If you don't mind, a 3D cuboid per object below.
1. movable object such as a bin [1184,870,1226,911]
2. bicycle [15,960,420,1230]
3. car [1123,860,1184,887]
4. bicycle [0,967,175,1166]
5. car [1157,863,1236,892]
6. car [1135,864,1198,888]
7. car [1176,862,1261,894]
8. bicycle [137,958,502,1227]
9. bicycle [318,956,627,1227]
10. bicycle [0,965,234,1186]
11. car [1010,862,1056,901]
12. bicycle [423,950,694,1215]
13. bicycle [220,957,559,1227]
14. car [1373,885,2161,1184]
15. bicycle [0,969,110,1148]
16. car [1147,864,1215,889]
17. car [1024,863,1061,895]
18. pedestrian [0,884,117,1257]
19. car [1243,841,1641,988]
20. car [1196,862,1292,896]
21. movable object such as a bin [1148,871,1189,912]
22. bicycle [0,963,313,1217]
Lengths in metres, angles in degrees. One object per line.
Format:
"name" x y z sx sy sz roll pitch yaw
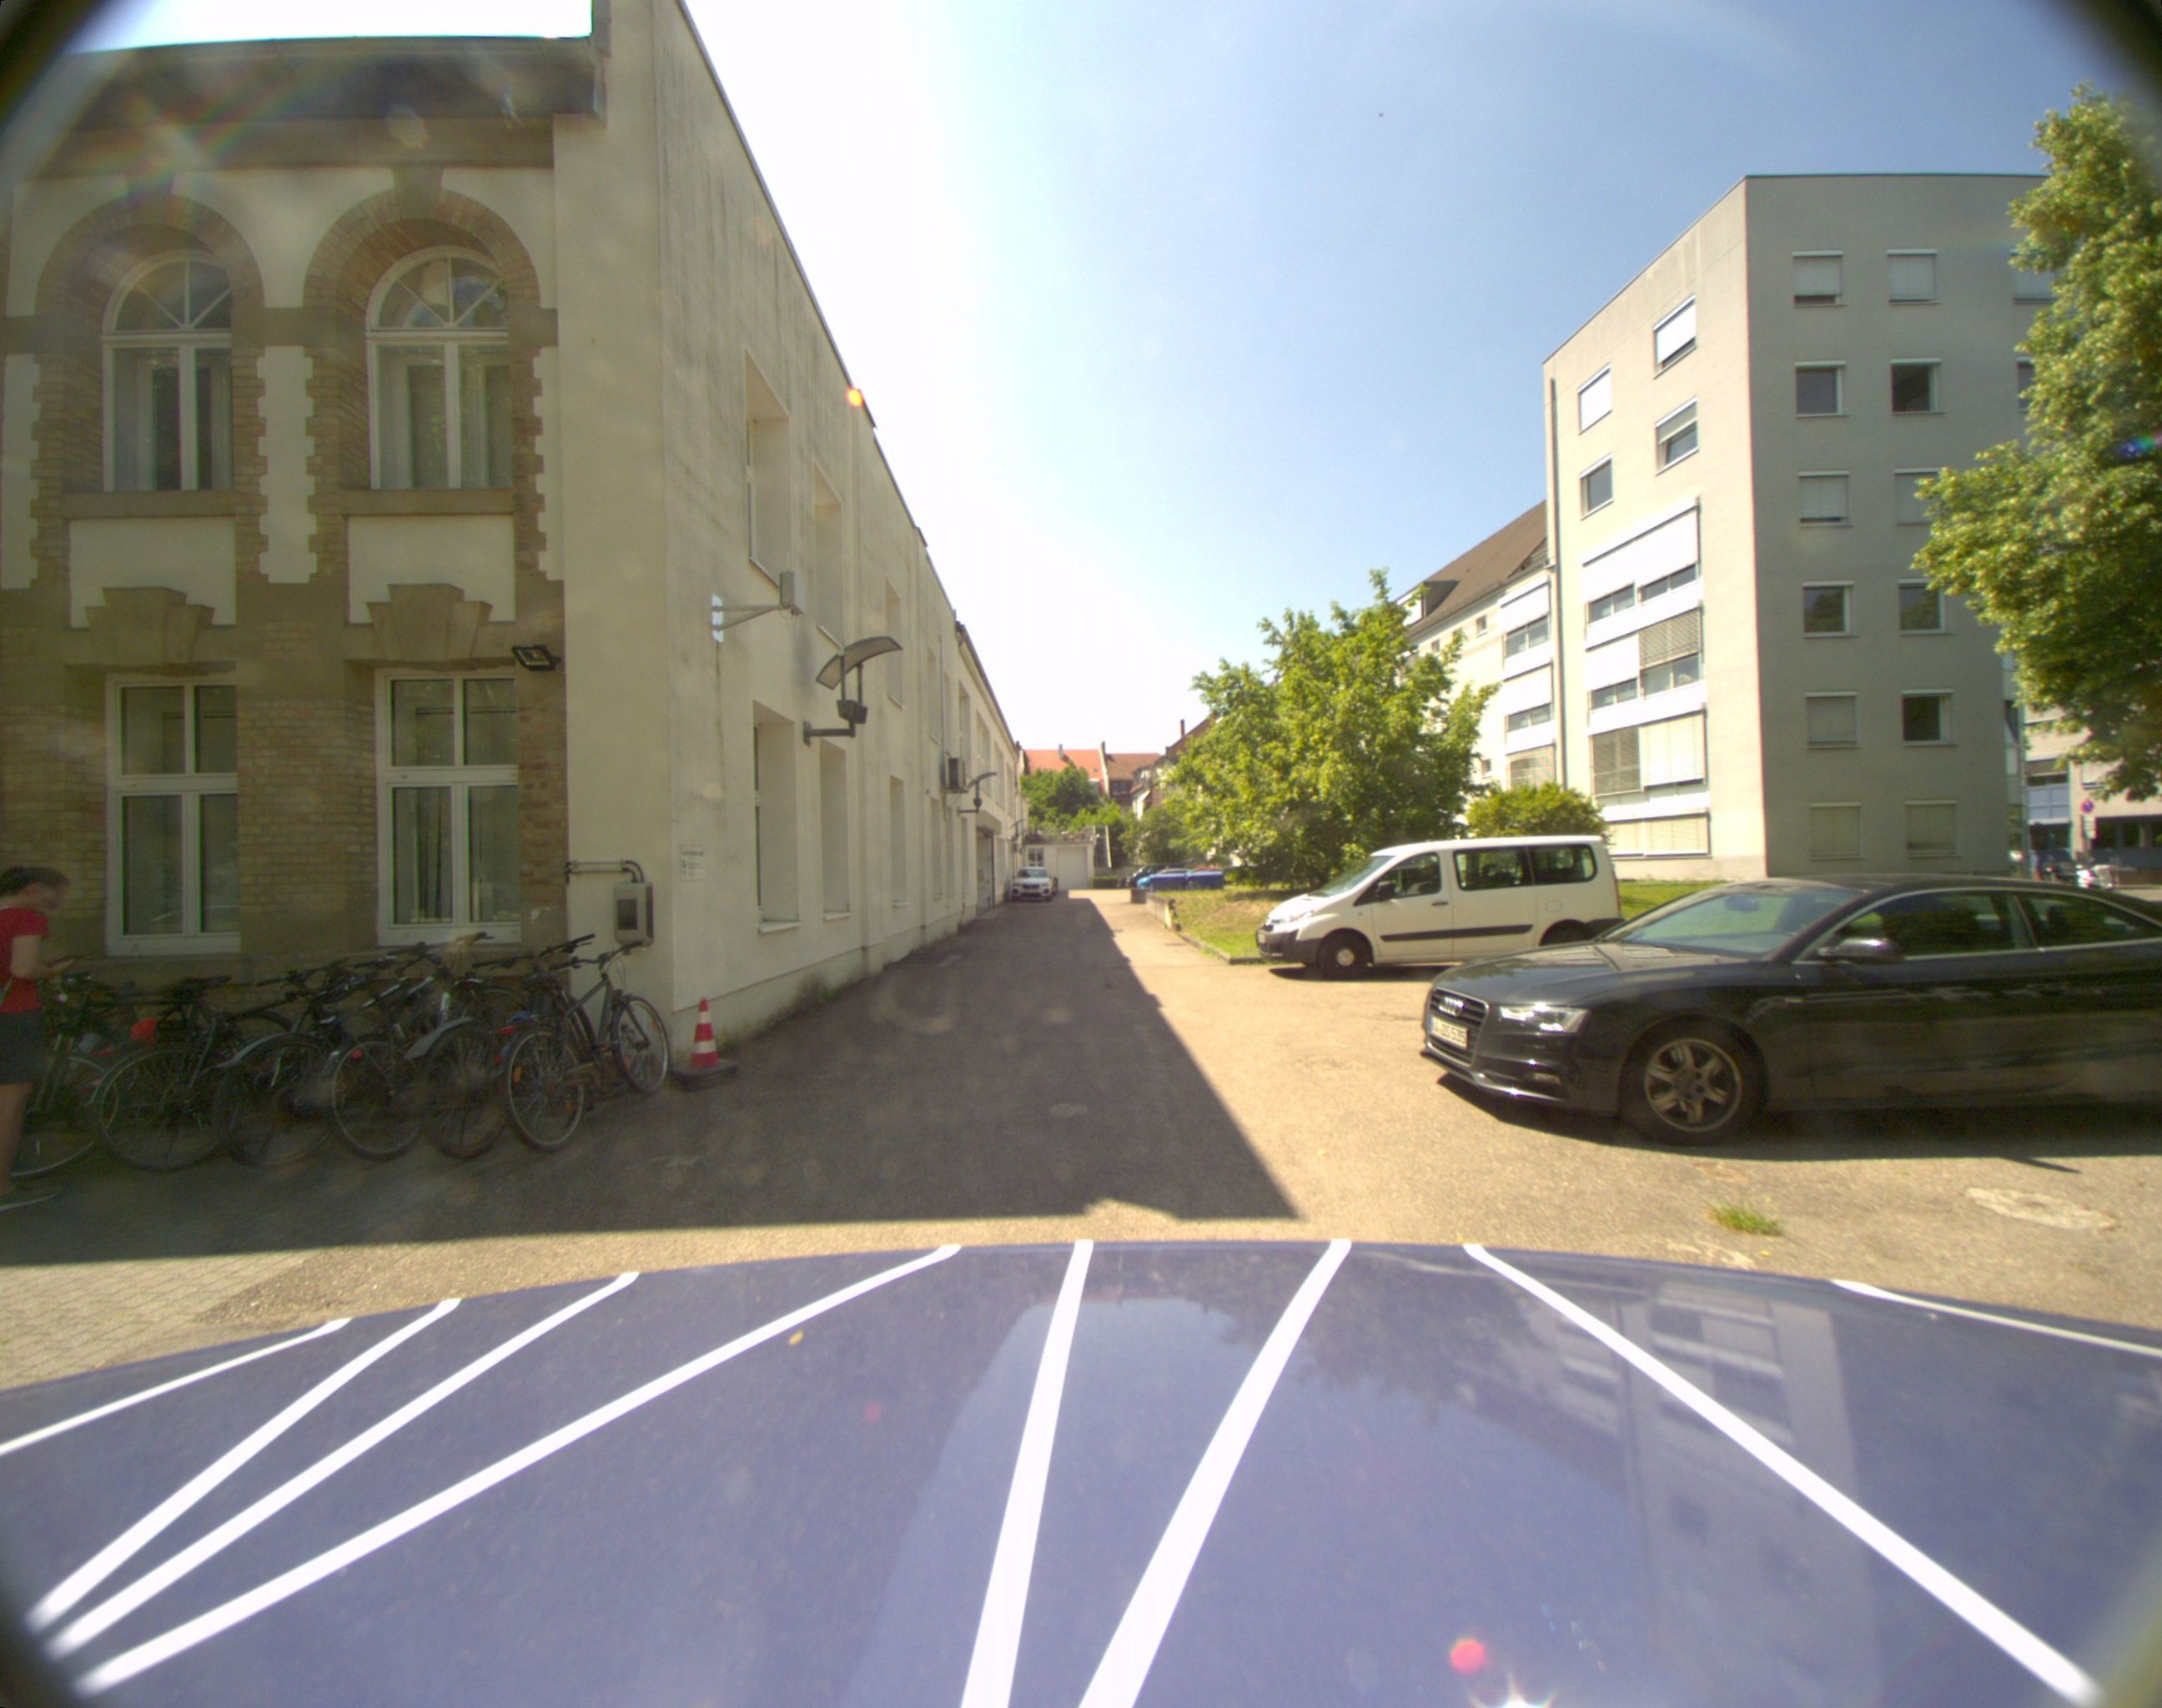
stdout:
"movable object such as a bin" 4.345 1.270 26.687 1.271 1.380 1.095 -1 0 0
"bicycle" -5.123 1.337 4.724 0.406 1.095 1.826 -1 0 0
"car" 5.417 1.448 57.012 4.224 1.812 2.009 -1 0 -6
"bicycle" -6.880 1.379 4.673 0.406 1.095 1.826 -1 0 0
"car" 6.723 1.340 44.413 4.224 1.559 1.612 -1 0 -6
"car" 6.066 1.552 54.082 4.224 1.559 1.612 -1 0 -6
"car" 7.409 1.282 41.115 4.224 1.559 1.612 -1 0 -6
"bicycle" -4.511 1.322 4.721 0.406 1.095 1.826 -1 0 0
"bicycle" -3.555 1.299 4.671 0.406 1.095 1.826 -1 0 0
"bicycle" -6.438 1.368 4.667 0.406 1.095 1.826 -1 0 0
"car" -2.371 1.335 38.870 2.011 1.792 4.727 -1 0 0
"bicycle" -3.086 1.265 4.726 0.406 1.095 1.826 -1 0 0
"bicycle" -4.072 1.312 4.700 0.406 1.095 1.826 -1 0 0
"car" 4.424 0.927 4.704 4.440 1.371 2.025 -1 -2 2
"bicycle" -7.331 1.390 4.651 0.406 1.095 1.826 -1 0 0
"car" 6.704 1.511 51.030 4.224 1.559 1.612 -1 0 -6
"car" -2.363 1.507 47.674 2.011 1.792 4.727 -1 0 0
"pedestrian" -5.365 1.029 3.642 0.552 1.738 0.689 -1 0 1
"car" 5.041 0.818 11.211 4.859 1.872 2.068 -1 0 2
"car" 8.220 1.257 38.416 4.445 1.559 1.612 -1 0 -6
"movable object such as a bin" 3.047 1.301 26.652 1.271 1.380 1.095 -1 0 0
"bicycle" -5.864 1.355 4.672 0.406 1.095 1.826 -1 0 0
